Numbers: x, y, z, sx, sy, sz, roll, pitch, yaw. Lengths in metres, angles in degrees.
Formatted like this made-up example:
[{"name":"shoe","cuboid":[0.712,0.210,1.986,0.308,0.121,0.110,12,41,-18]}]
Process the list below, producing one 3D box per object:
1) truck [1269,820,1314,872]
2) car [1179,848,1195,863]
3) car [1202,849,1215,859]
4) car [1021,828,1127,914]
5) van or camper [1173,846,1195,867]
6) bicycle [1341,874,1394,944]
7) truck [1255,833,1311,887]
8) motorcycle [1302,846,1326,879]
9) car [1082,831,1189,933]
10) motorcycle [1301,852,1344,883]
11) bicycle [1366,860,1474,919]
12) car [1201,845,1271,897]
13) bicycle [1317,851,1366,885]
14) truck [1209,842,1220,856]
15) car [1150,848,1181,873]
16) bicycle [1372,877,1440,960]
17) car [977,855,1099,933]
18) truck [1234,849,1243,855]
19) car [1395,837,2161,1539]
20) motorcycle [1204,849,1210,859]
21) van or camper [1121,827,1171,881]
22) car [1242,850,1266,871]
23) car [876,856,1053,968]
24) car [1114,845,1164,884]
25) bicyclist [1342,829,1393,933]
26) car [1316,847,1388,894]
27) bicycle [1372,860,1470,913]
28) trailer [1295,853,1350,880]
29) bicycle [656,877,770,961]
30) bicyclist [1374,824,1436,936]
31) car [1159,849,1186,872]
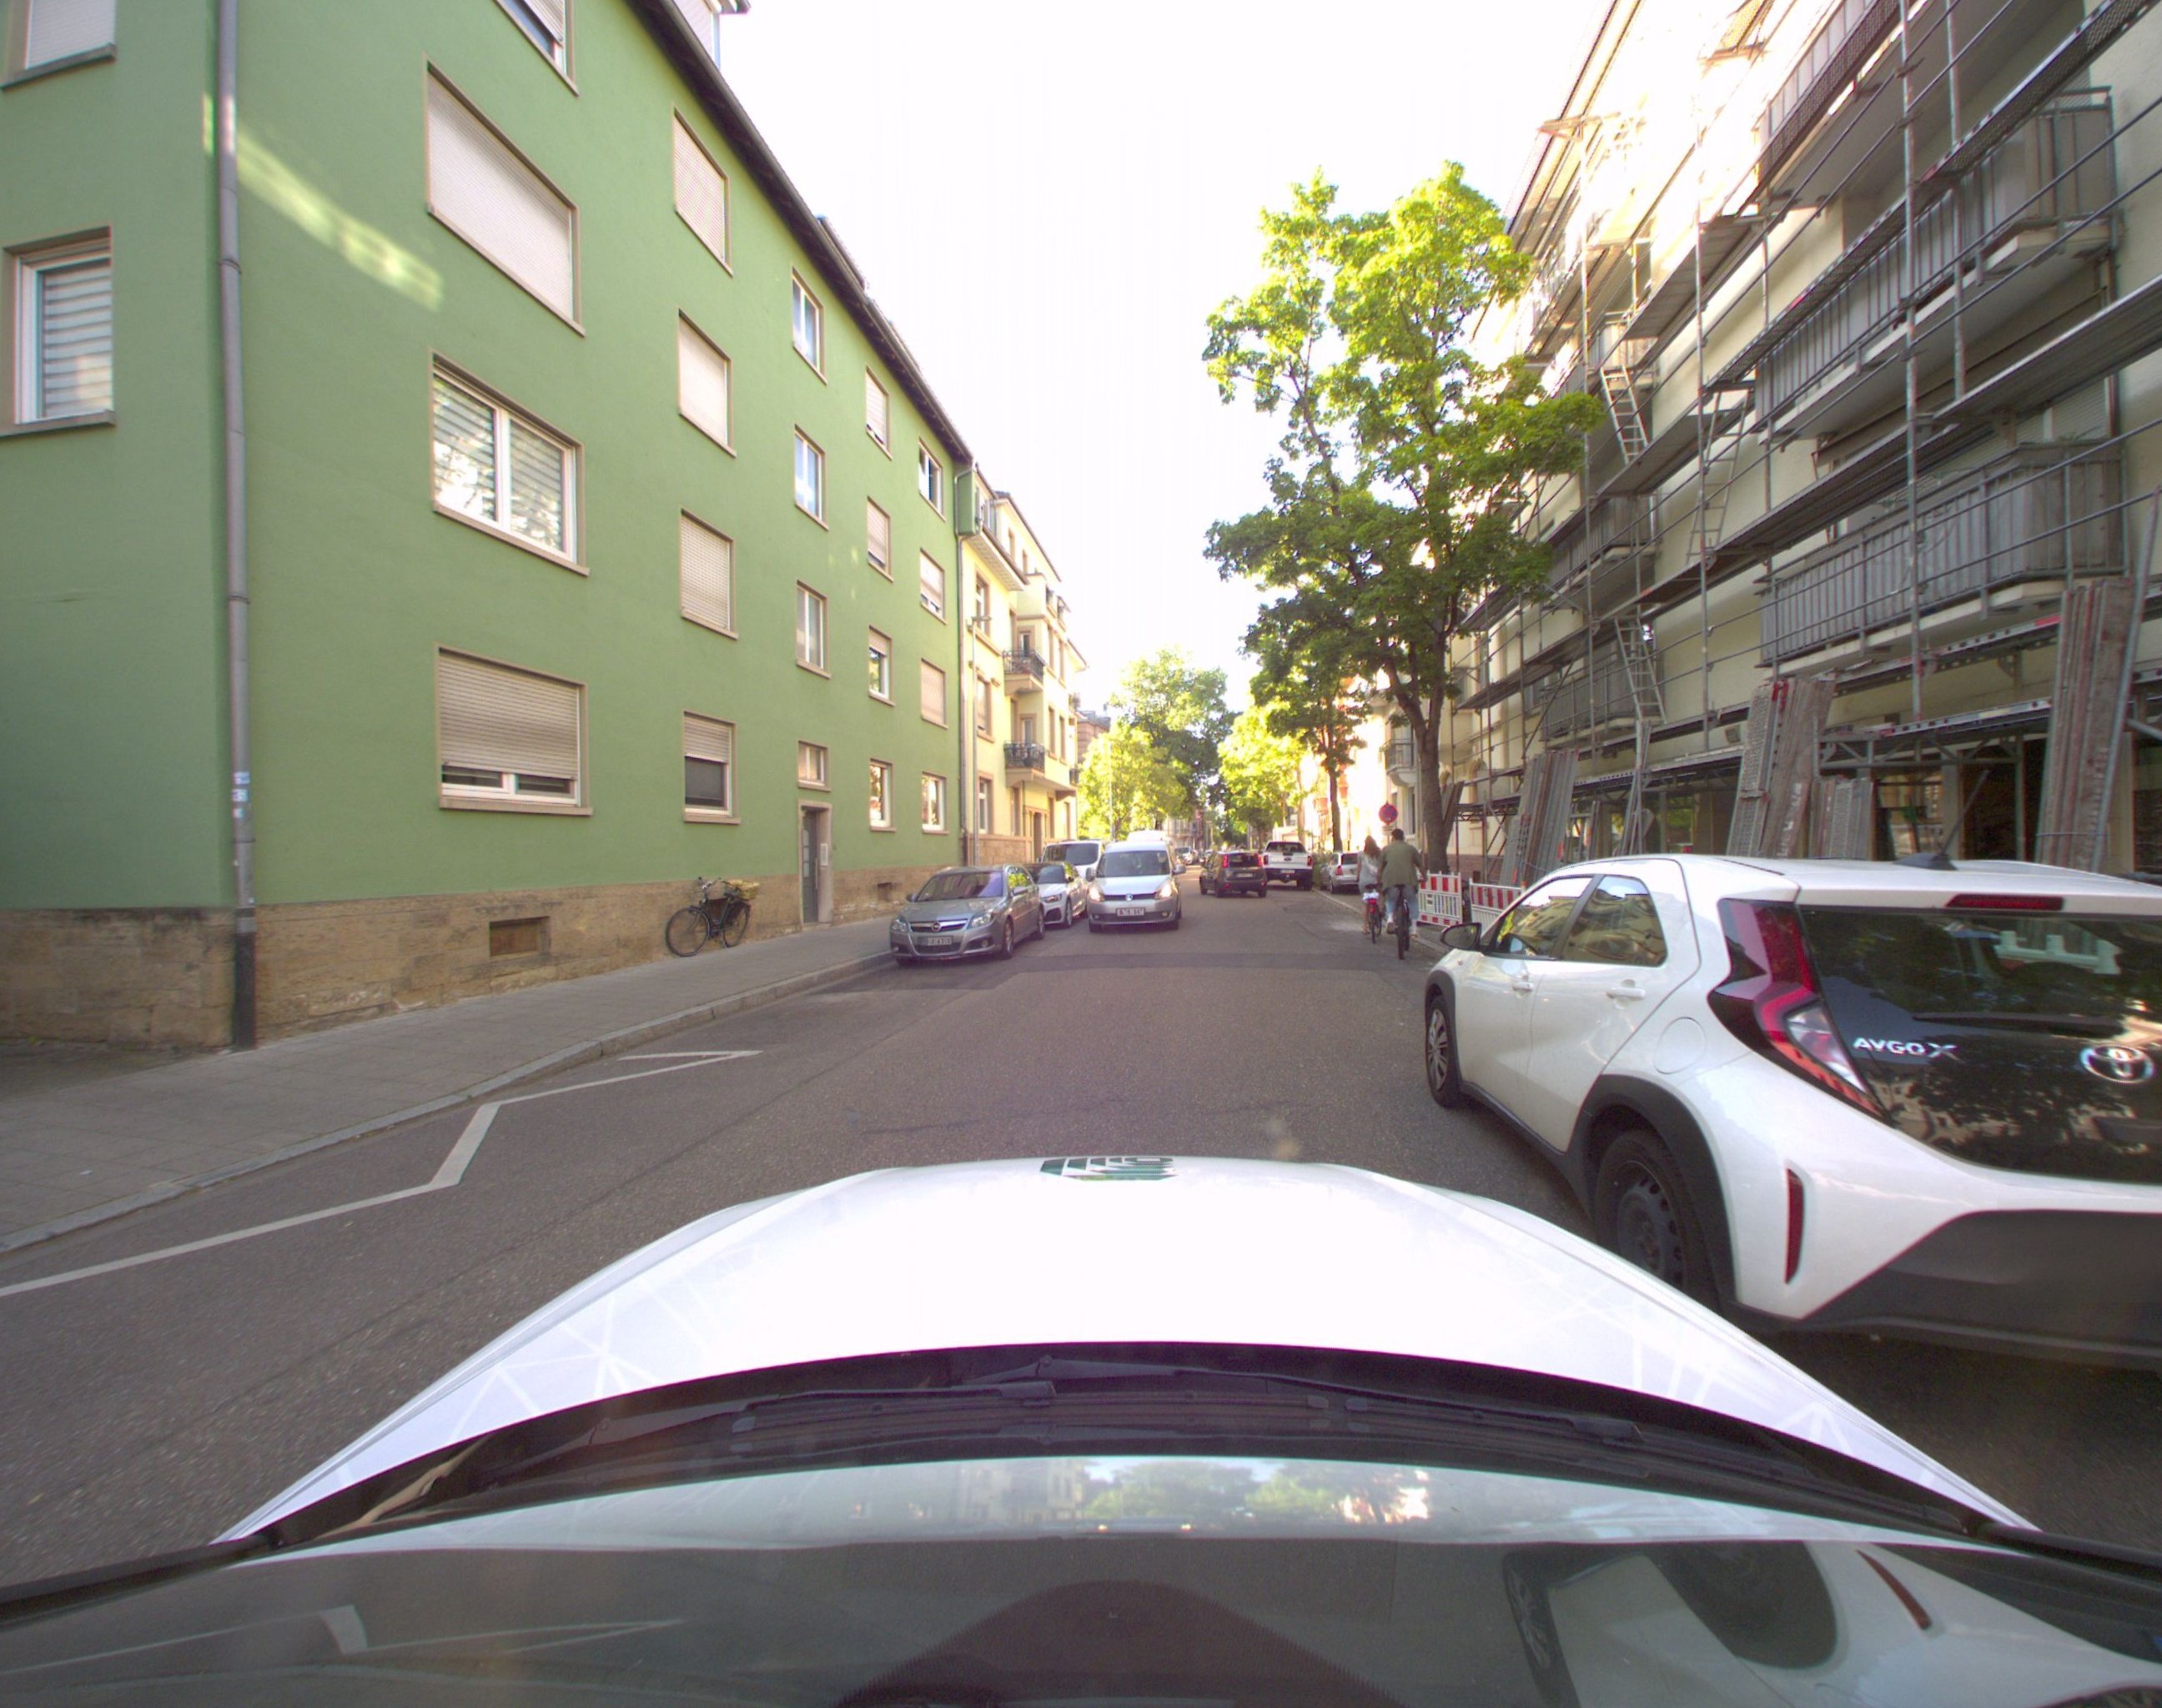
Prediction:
[{"name":"truck","cuboid":[13.316,-0.503,51.839,2.061,2.968,6.125,-4,0,9]},{"name":"car","cuboid":[12.853,0.183,98.682,1.815,1.554,4.143,-5,-1,8]},{"name":"car","cuboid":[21.067,-0.003,134.575,1.785,1.432,3.937,-5,0,11]},{"name":"car","cuboid":[-0.046,0.450,24.243,2.239,2.168,5.256,-4,0,8]},{"name":"van or camper","cuboid":[10.530,0.239,83.000,1.910,1.979,5.476,-4,-1,9]},{"name":"bicycle","cuboid":[4.847,0.890,13.874,0.700,1.045,1.866,2,0,16]},{"name":"truck","cuboid":[7.907,0.201,32.248,1.817,1.949,5.557,-1,0,10]},{"name":"motorcycle","cuboid":[10.771,0.384,37.705,0.924,1.486,2.145,-1,0,11]},{"name":"car","cuboid":[1.300,0.534,17.580,1.760,1.843,4.428,-3,-1,10]},{"name":"motorcycle","cuboid":[10.232,0.560,34.471,1.770,1.240,0.696,-1,0,-29]},{"name":"bicycle","cuboid":[6.919,0.698,16.677,1.905,1.121,0.752,0,0,40]},{"name":"car","cuboid":[5.015,0.518,26.710,1.627,1.550,3.264,-2,0,0]},{"name":"bicycle","cuboid":[10.275,0.543,32.112,1.749,1.305,0.587,-1,0,8]},{"name":"truck","cuboid":[30.542,-1.101,186.486,2.057,2.926,5.083,-5,-1,11]},{"name":"car","cuboid":[5.889,0.410,56.288,1.769,1.590,4.481,-3,0,10]},{"name":"bicycle","cuboid":[4.727,0.897,11.950,0.733,1.060,1.866,0,0,16]},{"name":"car","cuboid":[-0.835,0.823,18.642,1.822,1.462,4.374,-4,0,9]},{"name":"truck","cuboid":[37.416,-0.505,193.766,1.981,1.456,4.012,-1,0,10]},{"name":"car","cuboid":[2.736,0.715,3.733,1.790,1.535,3.977,0,0,11]},{"name":"motorcycle","cuboid":[20.338,0.000,131.345,0.694,1.460,1.751,-2,0,1]},{"name":"van or camper","cuboid":[3.719,-0.017,45.622,2.115,2.769,5.868,-3,0,10]},{"name":"car","cuboid":[13.473,0.471,63.507,1.669,1.544,3.810,0,0,9]},{"name":"car","cuboid":[-1.722,0.829,13.681,1.710,1.462,4.516,-4,0,7]},{"name":"car","cuboid":[2.922,0.464,39.891,1.864,1.685,4.983,-3,0,10]},{"name":"bicyclist","cuboid":[4.905,0.443,13.988,0.709,1.689,0.985,1,0,15]},{"name":"car","cuboid":[9.308,0.514,28.278,1.670,1.422,4.442,-3,0,10]},{"name":"bicycle","cuboid":[7.494,0.706,18.055,1.960,1.121,0.751,-1,0,20]},{"name":"trailer","cuboid":[10.584,0.547,35.786,2.076,1.112,1.114,-1,0,-4]},{"name":"bicycle","cuboid":[-5.456,0.925,12.212,0.484,1.075,1.975,3,0,10]},{"name":"bicyclist","cuboid":[4.732,0.352,11.957,0.750,1.565,0.985,0,0,16]},{"name":"car","cuboid":[7.045,0.438,62.404,1.665,1.572,4.164,-4,0,11]}]
